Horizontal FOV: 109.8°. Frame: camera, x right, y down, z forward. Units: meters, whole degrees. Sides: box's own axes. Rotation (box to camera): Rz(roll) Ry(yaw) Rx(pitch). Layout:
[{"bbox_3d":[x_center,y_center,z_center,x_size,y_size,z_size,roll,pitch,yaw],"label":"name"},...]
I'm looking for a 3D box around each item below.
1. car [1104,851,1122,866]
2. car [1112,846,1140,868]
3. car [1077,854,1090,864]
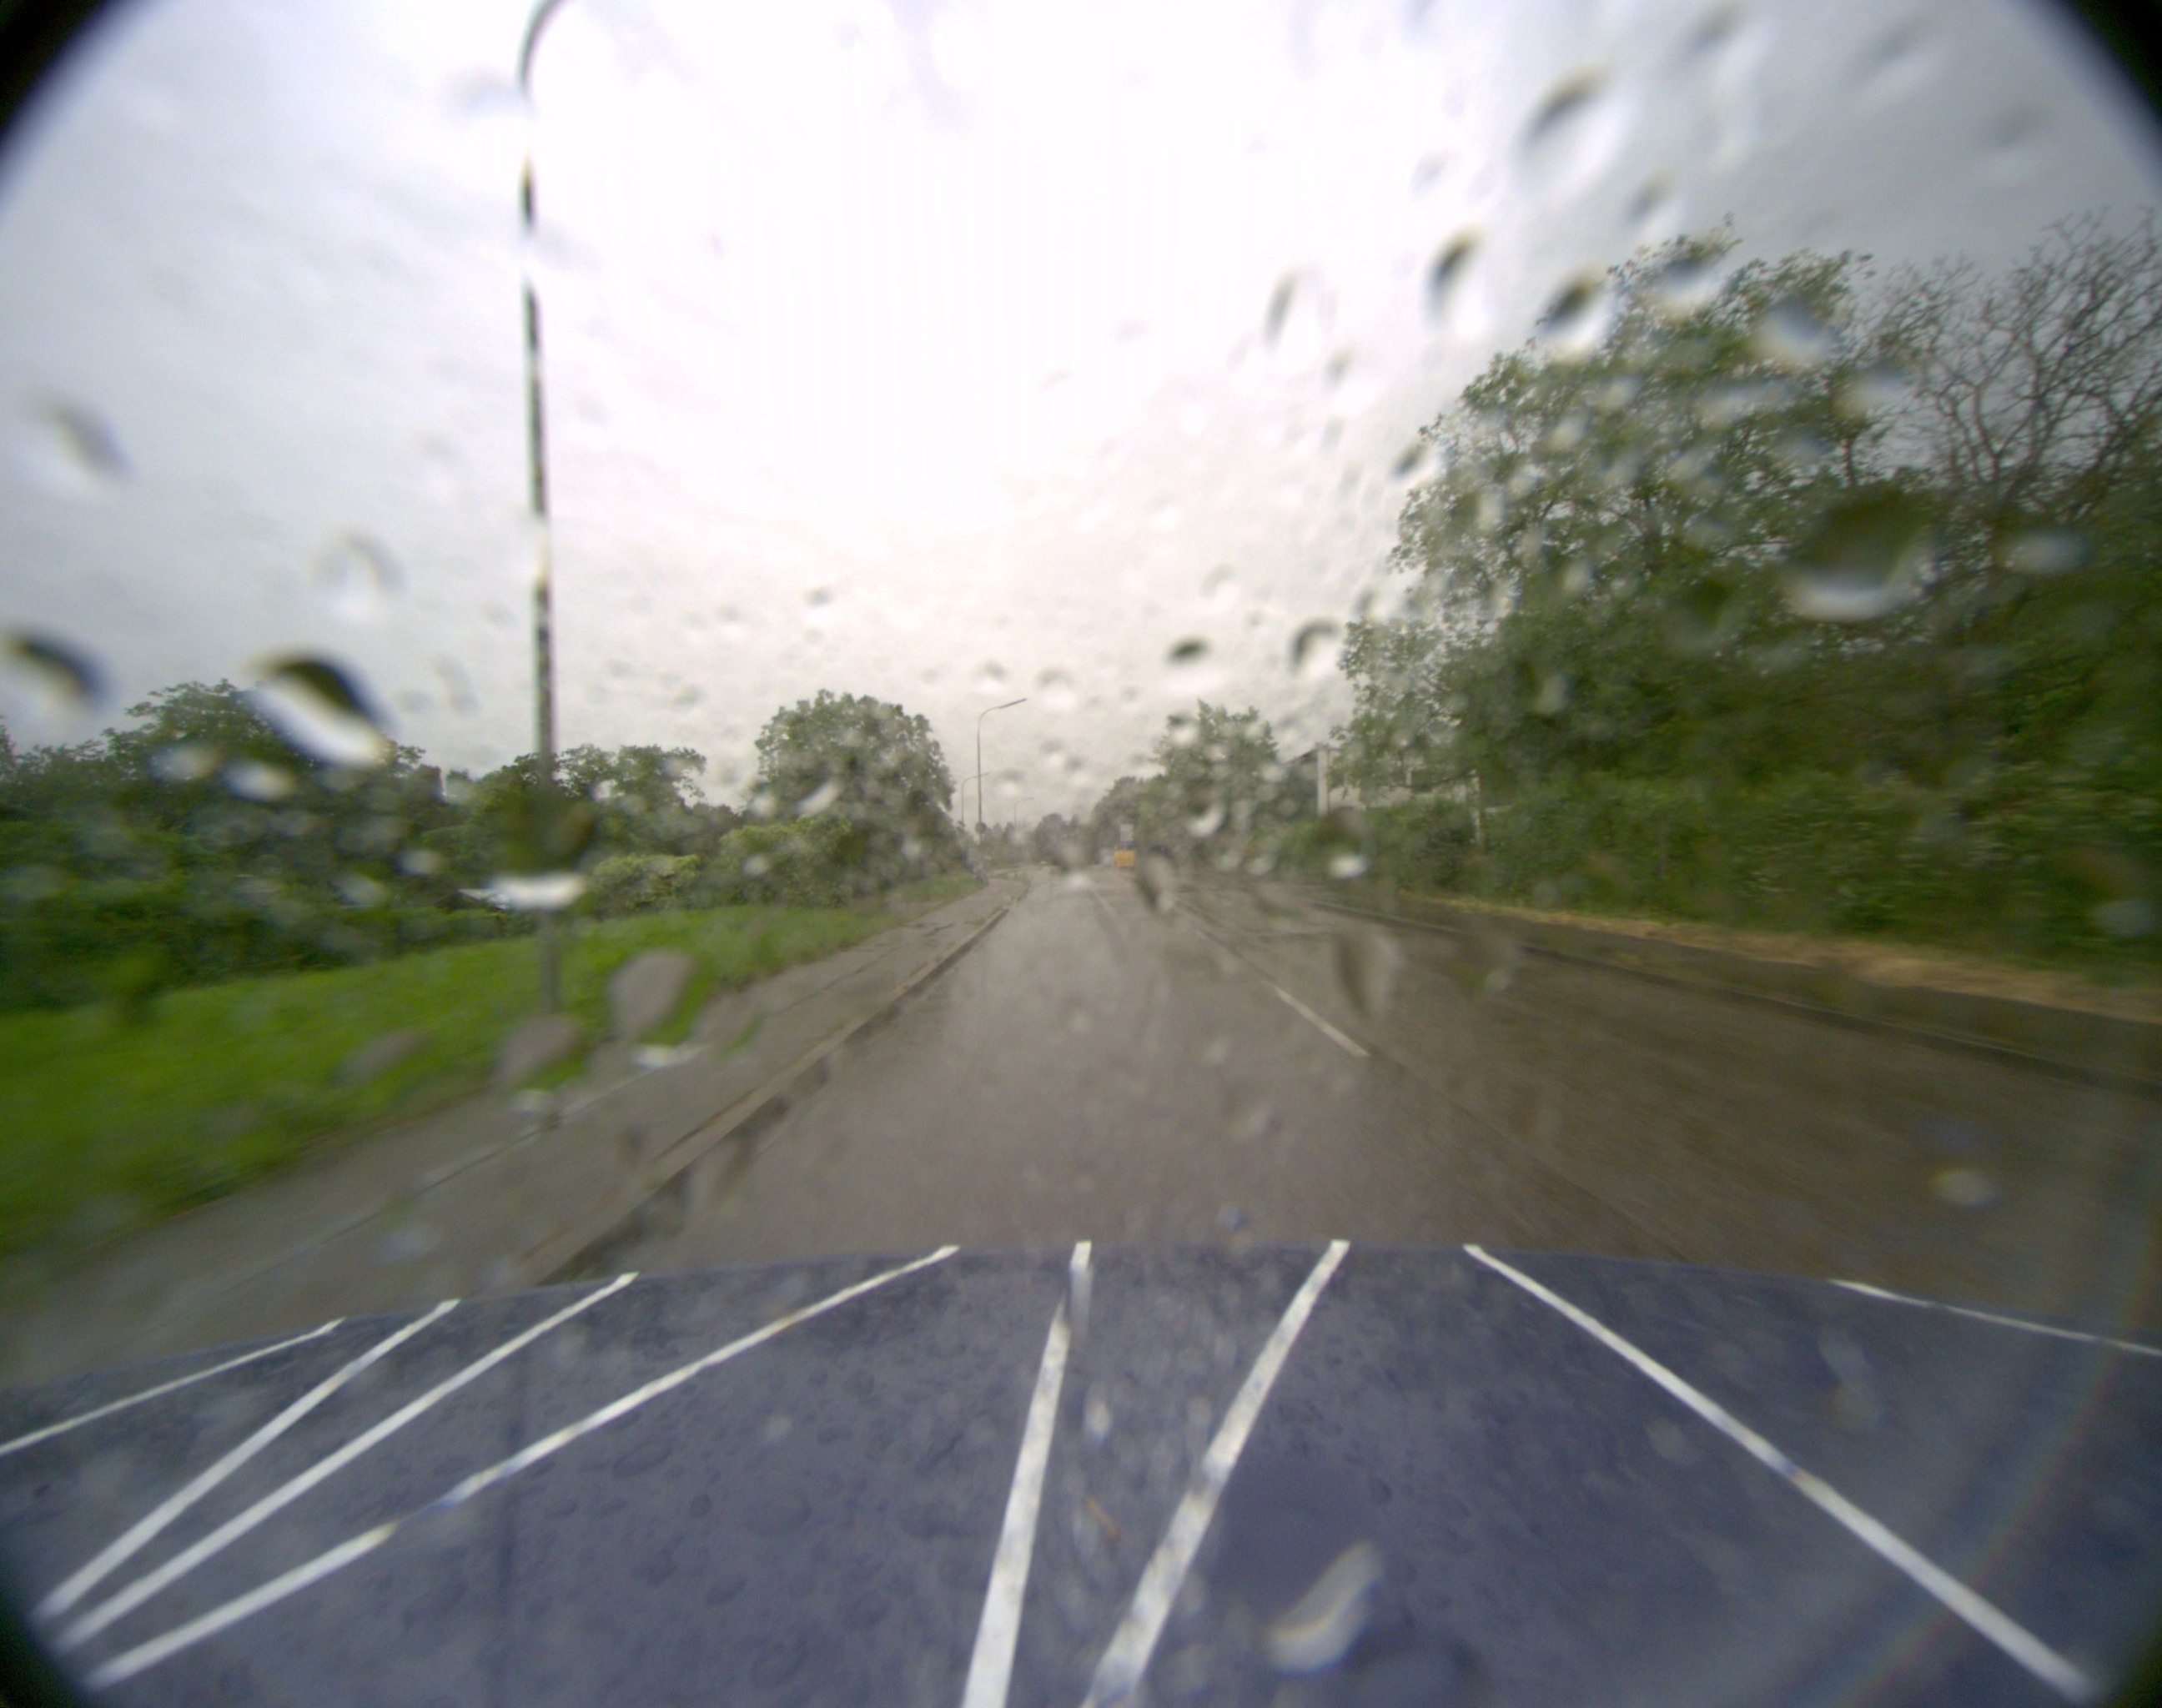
[{"bbox_3d":[3.675,0.506,88.718,1.830,1.543,3.615,-3,0,0],"label":"car"},{"bbox_3d":[4.140,0.269,70.418,1.999,1.865,4.468,-3,0,-2],"label":"car"},{"bbox_3d":[0.362,0.786,117.800,1.824,1.499,4.001,-3,0,2],"label":"car"}]
